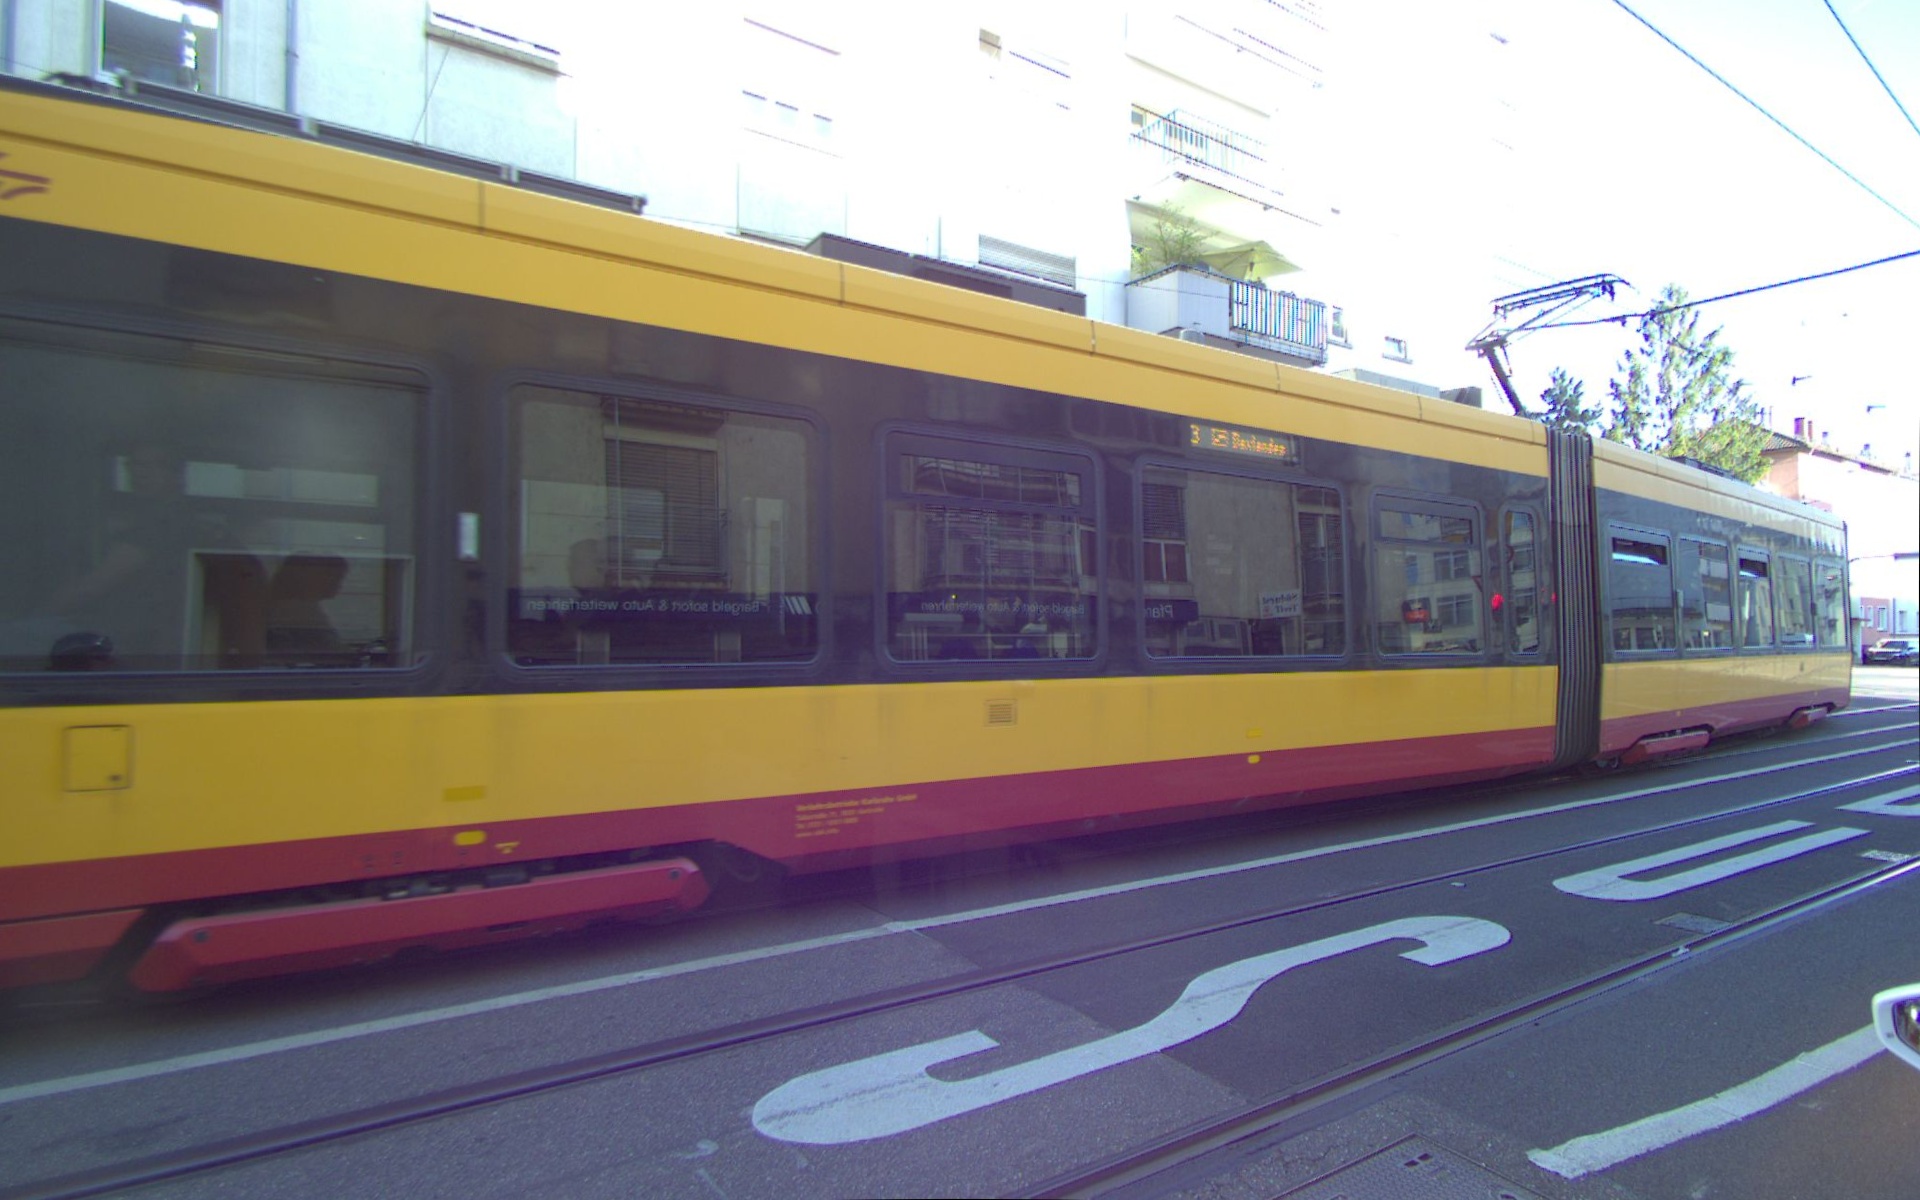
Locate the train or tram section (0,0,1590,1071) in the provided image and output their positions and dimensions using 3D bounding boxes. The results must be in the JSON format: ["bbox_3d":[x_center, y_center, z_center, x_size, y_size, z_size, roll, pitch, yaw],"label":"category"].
[{"bbox_3d":[-0.680,-0.245,6.403,12.497,3.640,3.045,2,-3,-34],"label":"train or tram section"}]

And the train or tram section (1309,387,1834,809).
[{"bbox_3d":[8.190,0.068,12.701,9.007,3.679,2.802,2,0,-39],"label":"train or tram section"}]

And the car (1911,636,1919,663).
[{"bbox_3d":[58.006,2.960,59.206,4.103,1.531,1.778,2,0,-31],"label":"car"}]

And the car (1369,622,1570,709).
[{"bbox_3d":[10.136,1.232,19.921,4.030,1.552,1.858,1,-2,-34],"label":"car"}]

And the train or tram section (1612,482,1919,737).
[{"bbox_3d":[17.091,0.308,20.097,14.148,3.680,2.722,2,0,-40],"label":"train or tram section"}]

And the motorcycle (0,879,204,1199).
[{"bbox_3d":[-1.426,0.850,0.197,1.958,1.235,0.534,2,0,-31],"label":"motorcycle"}]

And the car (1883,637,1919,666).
[{"bbox_3d":[53.635,2.901,56.148,4.250,1.518,1.806,2,0,-30],"label":"car"}]

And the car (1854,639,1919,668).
[{"bbox_3d":[49.606,2.837,53.592,3.949,1.440,1.784,2,0,-31],"label":"car"}]
